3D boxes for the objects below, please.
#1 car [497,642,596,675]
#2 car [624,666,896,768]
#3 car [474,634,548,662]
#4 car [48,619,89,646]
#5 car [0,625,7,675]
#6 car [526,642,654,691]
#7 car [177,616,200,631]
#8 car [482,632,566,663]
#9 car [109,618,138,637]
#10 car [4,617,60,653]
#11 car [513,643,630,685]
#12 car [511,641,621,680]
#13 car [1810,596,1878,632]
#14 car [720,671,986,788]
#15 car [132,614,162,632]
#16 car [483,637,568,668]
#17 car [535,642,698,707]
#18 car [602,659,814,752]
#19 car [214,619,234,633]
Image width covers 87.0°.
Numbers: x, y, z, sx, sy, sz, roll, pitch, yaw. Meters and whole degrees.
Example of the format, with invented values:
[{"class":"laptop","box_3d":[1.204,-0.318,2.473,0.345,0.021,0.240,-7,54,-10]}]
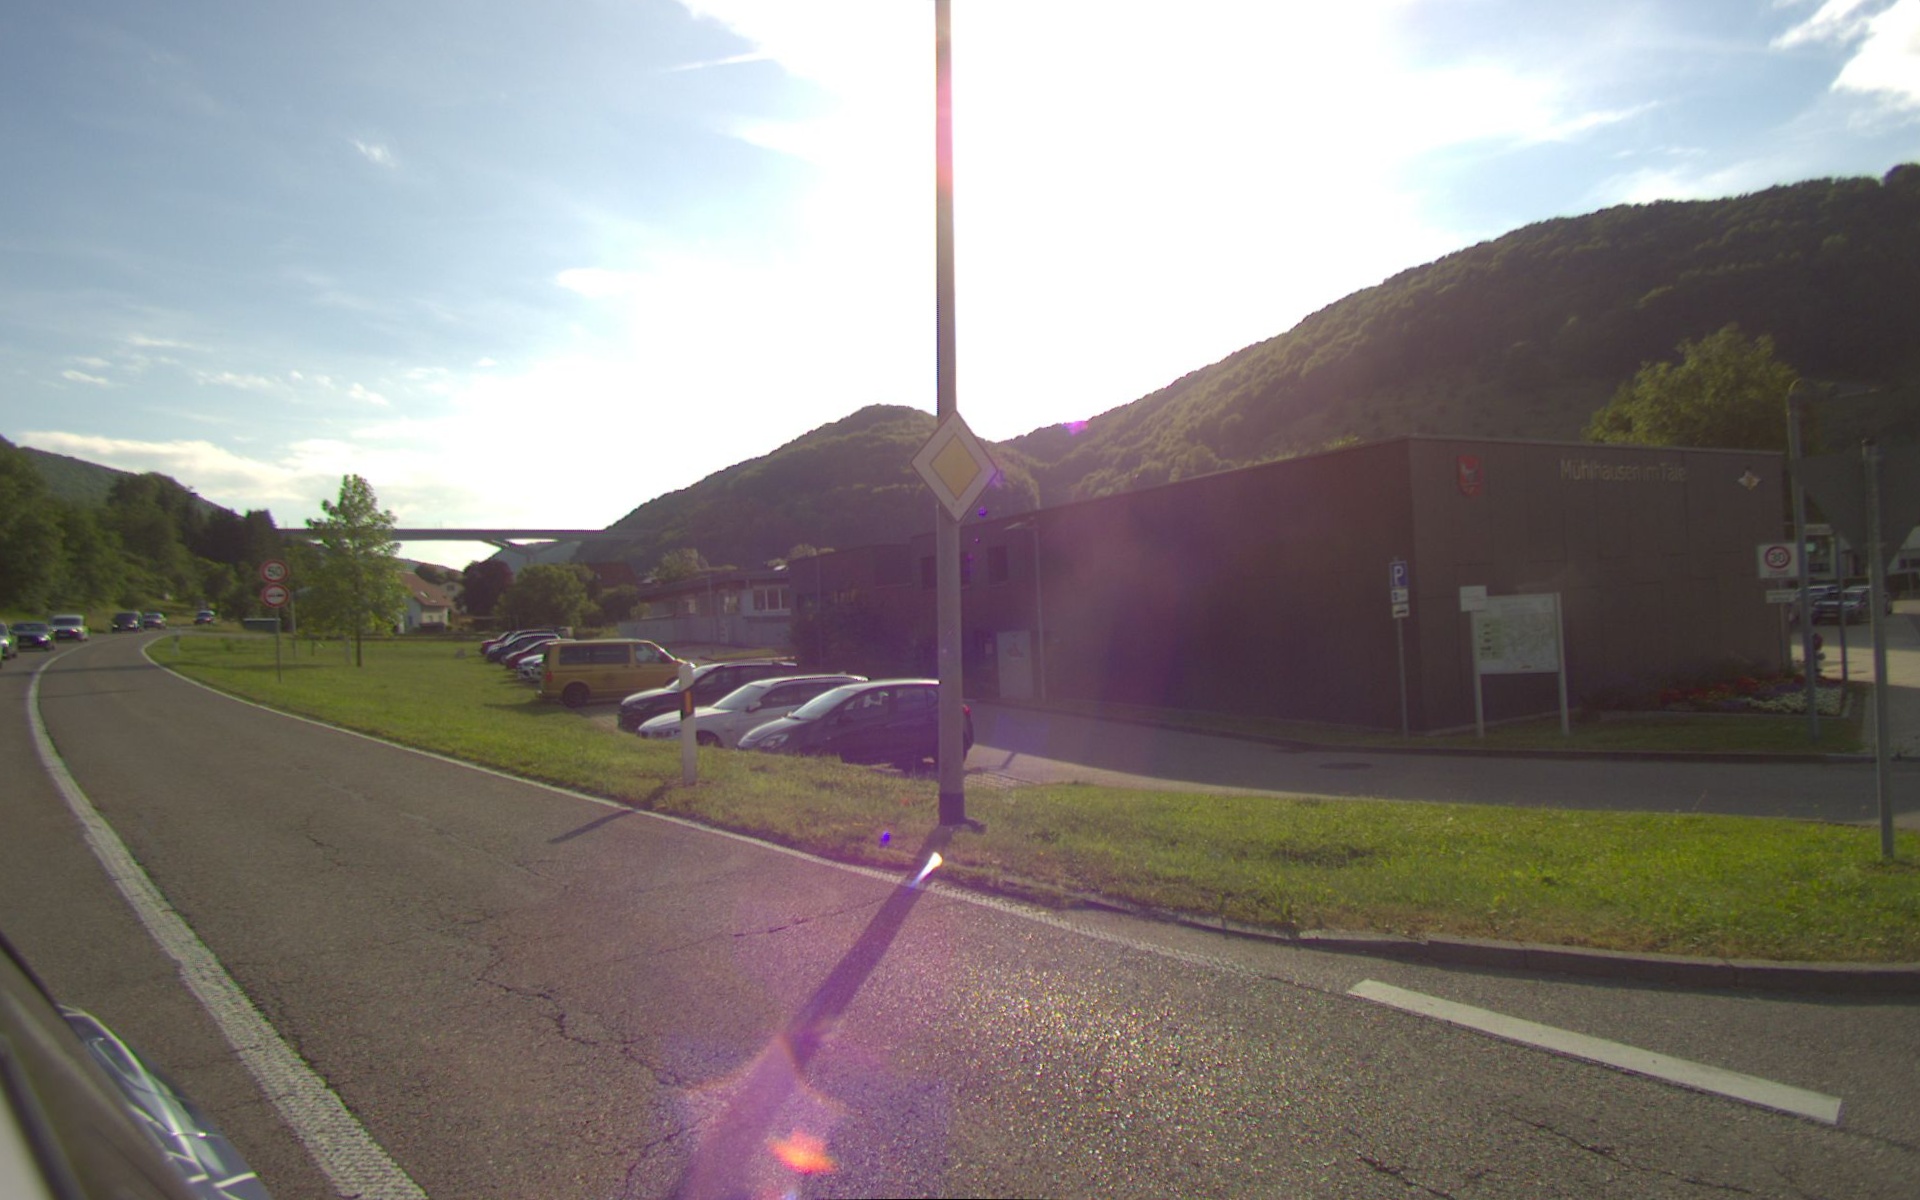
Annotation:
[{"class":"car","box_3d":[-20.235,2.820,49.508,4.370,1.463,2.006,0,-2,-26]},{"class":"car","box_3d":[-3.667,2.073,18.759,4.575,1.508,1.918,0,-2,-31]},{"class":"car","box_3d":[-29.904,3.169,67.345,4.370,1.733,2.006,0,-2,-28]},{"class":"car","box_3d":[-58.946,2.160,66.976,1.771,1.749,4.292,0,-2,-38]},{"class":"car","box_3d":[-31.035,1.584,31.563,4.285,1.484,1.774,-3,-2,45]},{"class":"car","box_3d":[-14.308,2.513,39.149,4.476,1.714,2.006,0,-2,-27]},{"class":"car","box_3d":[-101.258,3.041,132.816,1.880,1.918,4.012,-1,0,-30]},{"class":"car","box_3d":[-27.058,2.912,62.833,4.594,1.776,2.006,0,-2,-28]},{"class":"car","box_3d":[-76.522,2.510,92.612,1.652,1.659,3.355,-1,-2,-33]},{"class":"car","box_3d":[-46.184,1.752,50.429,1.884,1.698,4.006,0,-2,-41]},{"class":"car","box_3d":[-16.158,2.621,42.136,4.370,1.599,2.006,0,-2,-27]},{"class":"car","box_3d":[-17.606,2.683,45.195,4.370,1.595,2.006,0,-2,-28]},{"class":"car","box_3d":[40.176,0.615,46.071,1.997,1.525,3.950,-3,-2,37]},{"class":"car","box_3d":[-1.744,2.016,16.568,3.931,1.546,1.839,0,-2,-28]},{"class":"car","box_3d":[-86.110,2.477,107.208,1.966,1.730,4.012,-1,-2,-31]},{"class":"car","box_3d":[-25.068,3.017,58.435,4.370,1.595,2.006,-1,-1,-28]},{"class":"car","box_3d":[-10.715,2.270,31.606,4.582,1.827,2.006,0,-2,-26]},{"class":"car","box_3d":[-5.642,2.288,22.783,4.224,1.650,1.918,-2,-1,-32]},{"class":"car","box_3d":[-106.135,3.738,146.000,1.880,1.918,4.012,-1,0,-31]}]
